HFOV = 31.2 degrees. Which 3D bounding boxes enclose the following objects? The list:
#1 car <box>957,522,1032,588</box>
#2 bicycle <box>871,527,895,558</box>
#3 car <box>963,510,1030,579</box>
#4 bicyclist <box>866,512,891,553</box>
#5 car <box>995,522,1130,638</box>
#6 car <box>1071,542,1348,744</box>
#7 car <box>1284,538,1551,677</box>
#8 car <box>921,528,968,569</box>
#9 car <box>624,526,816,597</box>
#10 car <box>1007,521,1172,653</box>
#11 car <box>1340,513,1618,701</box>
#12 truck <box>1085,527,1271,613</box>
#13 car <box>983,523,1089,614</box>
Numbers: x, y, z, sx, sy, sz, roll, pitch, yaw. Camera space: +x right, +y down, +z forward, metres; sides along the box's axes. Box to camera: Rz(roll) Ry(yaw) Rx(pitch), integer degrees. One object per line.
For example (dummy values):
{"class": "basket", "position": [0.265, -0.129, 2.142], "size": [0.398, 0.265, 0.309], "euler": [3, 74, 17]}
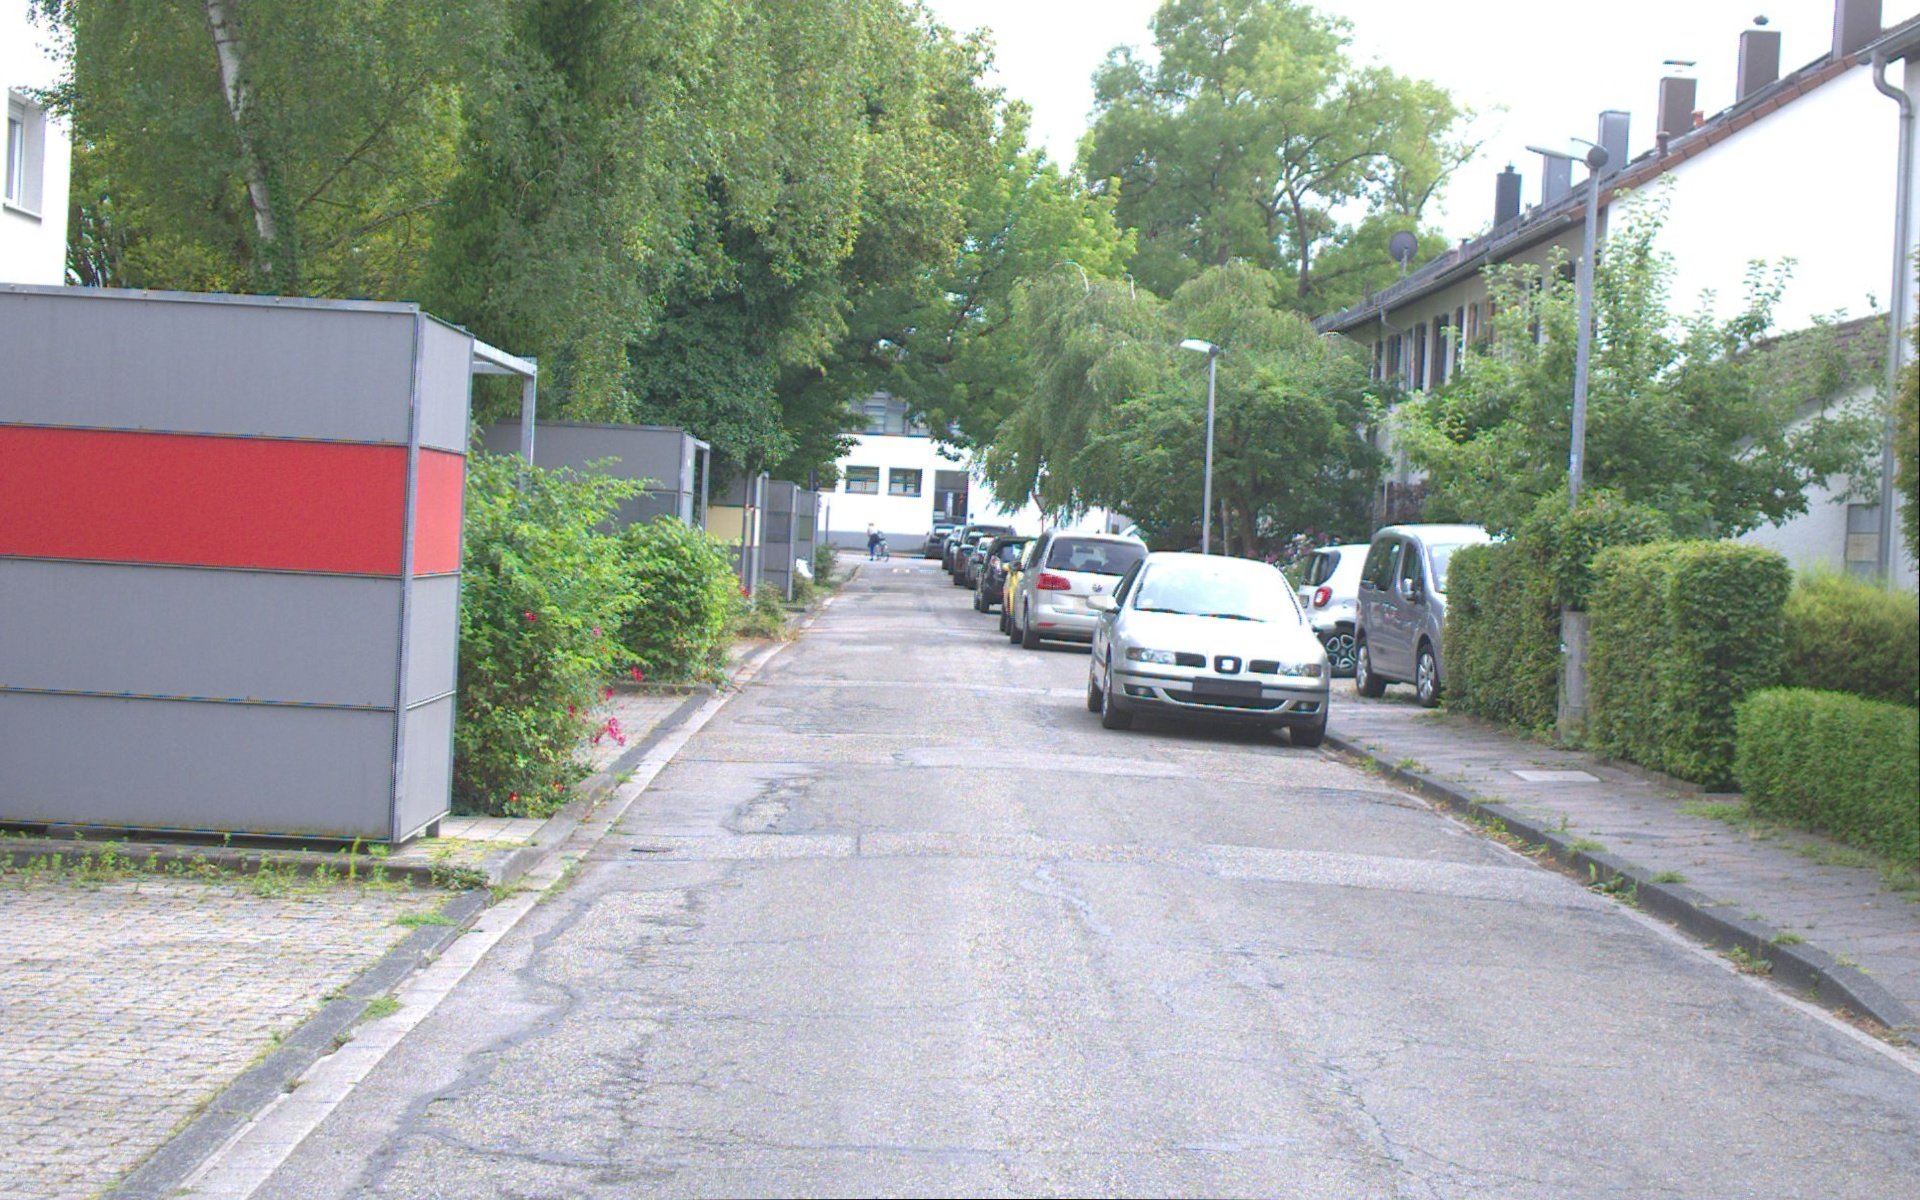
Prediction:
{"class": "car", "position": [0.905, -1.214, 92.078], "size": [1.825, 1.576, 4.000], "euler": [5, 1, 0]}
{"class": "bicycle", "position": [-2.946, -2.216, 131.991], "size": [0.689, 1.127, 2.579], "euler": [5, 1, 1]}
{"class": "car", "position": [1.078, -1.689, 103.735], "size": [1.825, 1.876, 4.000], "euler": [5, 1, 0]}
{"class": "bicyclist", "position": [-3.135, -2.570, 131.953], "size": [0.798, 1.505, 0.934], "euler": [5, 1, 1]}
{"class": "car", "position": [1.544, -0.331, 53.182], "size": [1.825, 1.576, 4.000], "euler": [5, 1, 0]}
{"class": "car", "position": [1.959, 0.287, 28.190], "size": [1.825, 1.365, 4.331], "euler": [5, 1, 0]}
{"class": "car", "position": [5.346, 0.073, 40.425], "size": [2.816, 1.564, 1.741], "euler": [1, 1, -3]}
{"class": "car", "position": [-0.652, -2.175, 144.577], "size": [1.825, 1.576, 4.000], "euler": [5, 1, 0]}
{"class": "car", "position": [-5.194, -0.842, 74.759], "size": [4.031, 1.389, 1.738], "euler": [2, 1, -1]}
{"class": "car", "position": [1.710, -0.215, 46.770], "size": [1.825, 1.576, 4.001], "euler": [5, 1, -2]}
{"class": "car", "position": [5.147, 0.043, 34.646], "size": [1.825, 1.771, 4.342], "euler": [0, 1, -4]}
{"class": "truck", "position": [5.376, -0.758, 85.216], "size": [4.390, 2.007, 2.000], "euler": [1, 1, -1]}
{"class": "car", "position": [1.443, -0.635, 66.961], "size": [1.825, 1.576, 4.193], "euler": [5, 1, 0]}
